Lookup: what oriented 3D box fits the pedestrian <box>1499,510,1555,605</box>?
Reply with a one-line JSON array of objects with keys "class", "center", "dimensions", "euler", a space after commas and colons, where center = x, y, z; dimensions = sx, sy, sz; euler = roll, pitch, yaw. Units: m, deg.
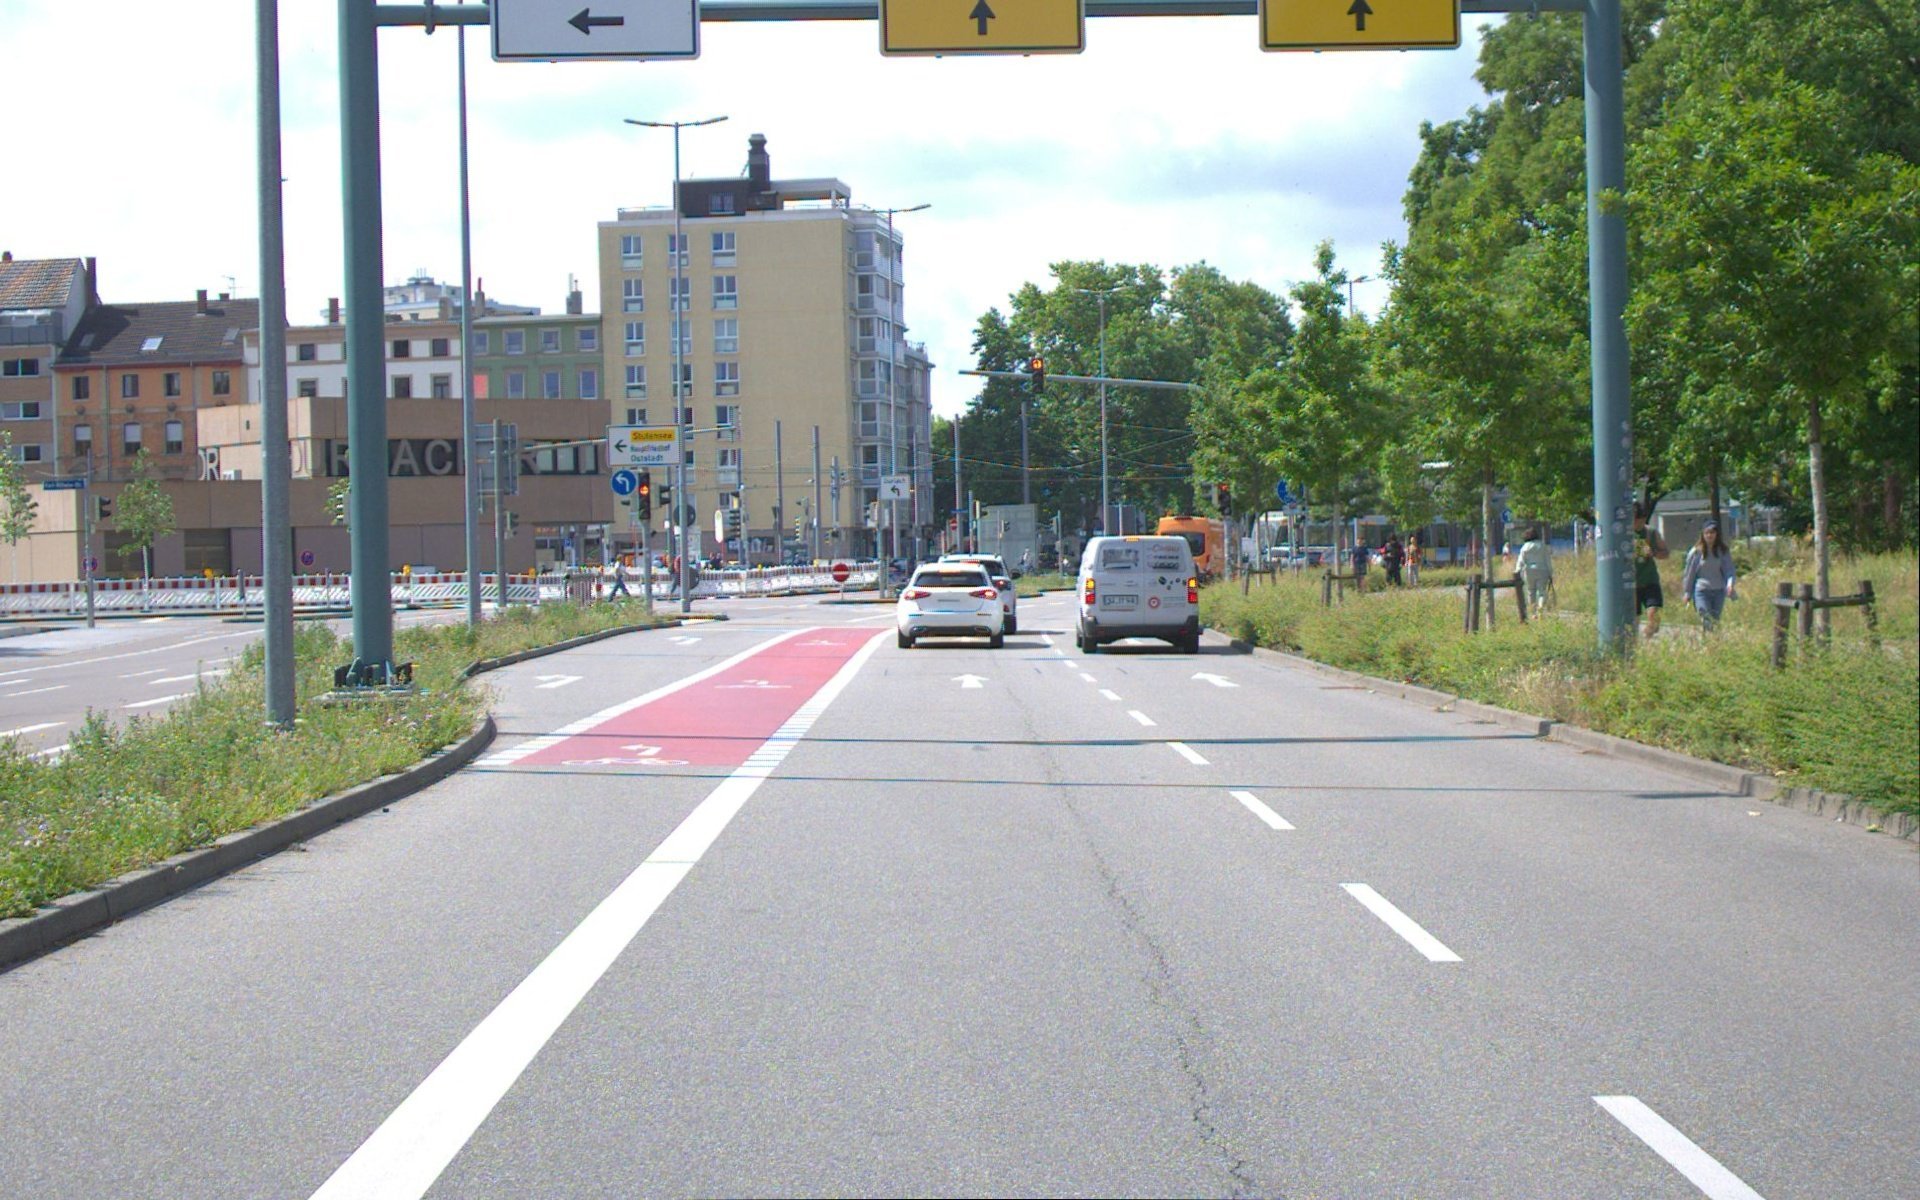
[{"class": "pedestrian", "center": [9.945, -0.751, 60.307], "dimensions": [0.868, 1.633, 0.721], "euler": [-1, 1, 2]}]

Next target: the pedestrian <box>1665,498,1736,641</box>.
[{"class": "pedestrian", "center": [8.305, -0.345, 38.571], "dimensions": [0.623, 1.575, 0.708], "euler": [-1, 1, 0]}]

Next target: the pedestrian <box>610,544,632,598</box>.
[{"class": "pedestrian", "center": [-10.996, -0.952, 111.555], "dimensions": [0.525, 1.727, 0.623], "euler": [-1, 1, 10]}]

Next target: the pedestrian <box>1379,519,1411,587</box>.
[{"class": "pedestrian", "center": [11.180, -1.208, 88.282], "dimensions": [0.742, 1.729, 0.679], "euler": [-1, 1, 4]}]

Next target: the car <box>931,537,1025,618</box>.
[{"class": "car", "center": [0.373, -0.465, 68.087], "dimensions": [1.791, 1.534, 4.011], "euler": [1, 1, 1]}]

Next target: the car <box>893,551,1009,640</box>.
[{"class": "car", "center": [-0.116, -0.106, 59.432], "dimensions": [1.904, 1.419, 4.385], "euler": [-1, 1, 1]}]

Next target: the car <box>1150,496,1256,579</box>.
[{"class": "car", "center": [8.445, -2.167, 119.261], "dimensions": [2.132, 2.771, 4.633], "euler": [-1, 1, 24]}]

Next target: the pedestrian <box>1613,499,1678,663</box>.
[{"class": "pedestrian", "center": [7.627, -0.213, 38.279], "dimensions": [0.567, 1.795, 0.639], "euler": [-1, 1, 0]}]

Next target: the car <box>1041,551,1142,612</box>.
[{"class": "car", "center": [4.144, -0.570, 107.566], "dimensions": [1.995, 1.809, 3.996], "euler": [2, 0, 20]}]

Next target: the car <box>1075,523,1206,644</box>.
[{"class": "car", "center": [2.924, -0.307, 56.539], "dimensions": [1.942, 1.863, 4.825], "euler": [-1, 1, 1]}]

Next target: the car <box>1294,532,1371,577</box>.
[{"class": "car", "center": [15.904, -1.944, 146.738], "dimensions": [1.996, 1.820, 3.995], "euler": [-1, 1, 26]}]
